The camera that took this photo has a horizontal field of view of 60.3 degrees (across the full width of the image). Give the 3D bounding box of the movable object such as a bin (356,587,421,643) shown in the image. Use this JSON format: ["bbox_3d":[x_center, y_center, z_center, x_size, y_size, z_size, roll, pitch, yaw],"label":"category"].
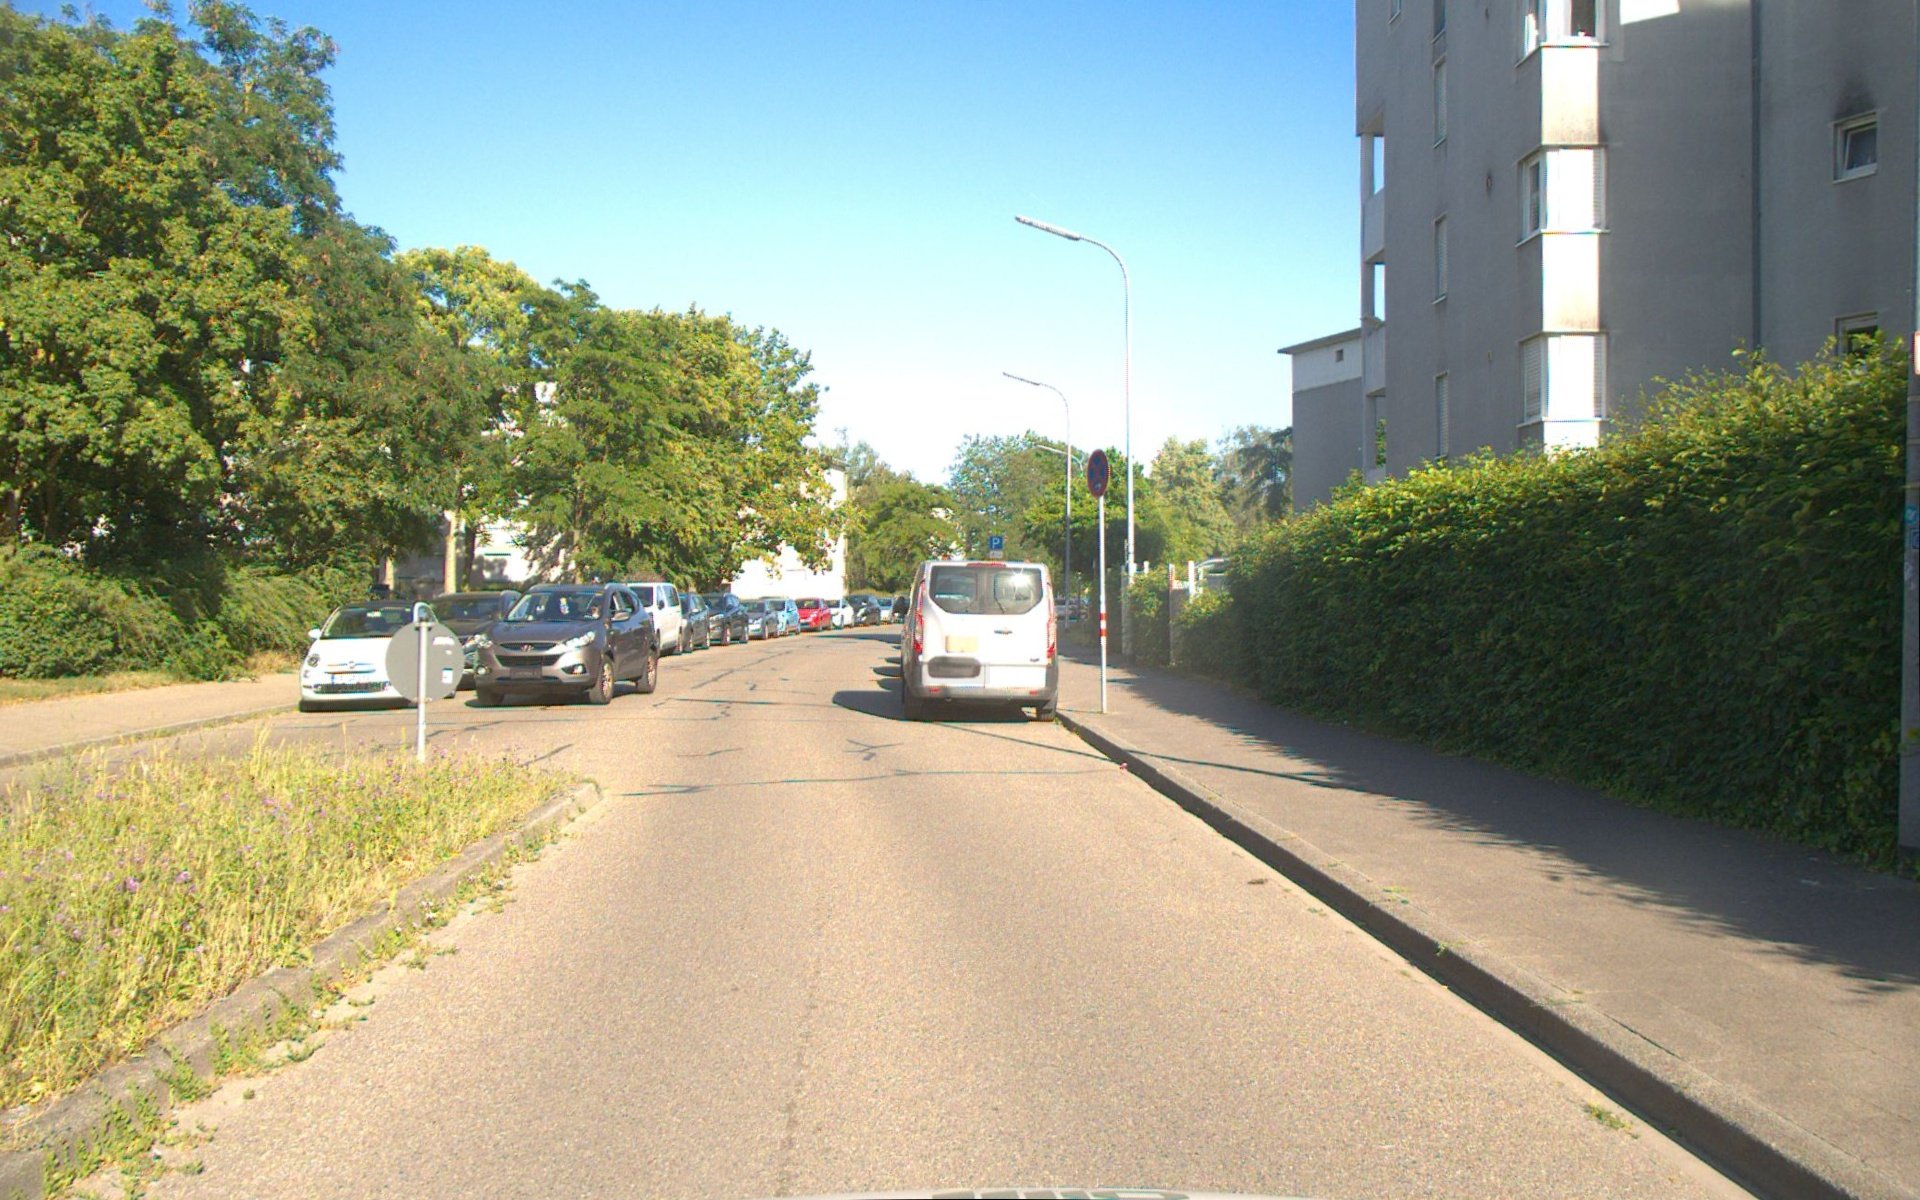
[{"bbox_3d":[-14.653,0.377,42.420,1.250,1.426,1.261,0,0,-3],"label":"movable object such as a bin"}]

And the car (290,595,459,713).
[{"bbox_3d":[-8.417,0.722,24.036,1.595,1.554,3.414,-1,0,-7],"label":"car"}]

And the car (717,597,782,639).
[{"bbox_3d":[-7.681,0.646,60.655,1.635,1.462,4.002,-2,0,3],"label":"car"}]

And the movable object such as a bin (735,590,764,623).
[{"bbox_3d":[-9.796,0.287,76.965,1.087,1.524,1.409,0,1,3],"label":"movable object such as a bin"}]

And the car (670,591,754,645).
[{"bbox_3d":[-7.941,0.545,53.277,1.711,1.646,4.365,-1,0,5],"label":"car"}]

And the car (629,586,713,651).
[{"bbox_3d":[-8.169,0.479,47.078,1.523,1.752,4.341,-1,0,2],"label":"car"}]

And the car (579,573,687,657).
[{"bbox_3d":[-8.268,0.349,42.153,1.825,1.995,4.670,-1,0,0],"label":"car"}]

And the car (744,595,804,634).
[{"bbox_3d":[-7.407,0.558,66.038,1.635,1.500,3.680,-2,0,5],"label":"car"}]

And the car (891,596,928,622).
[{"bbox_3d":[-2.925,0.494,96.768,1.625,1.451,4.052,-2,0,5],"label":"car"}]

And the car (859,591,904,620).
[{"bbox_3d":[-4.293,0.303,91.178,1.625,1.512,4.056,-2,0,9],"label":"car"}]

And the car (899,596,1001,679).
[{"bbox_3d":[-0.224,0.695,32.771,1.871,1.514,4.374,0,0,-1],"label":"car"}]

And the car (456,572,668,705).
[{"bbox_3d":[-5.712,0.508,24.281,1.873,1.735,4.187,-1,0,3],"label":"car"}]

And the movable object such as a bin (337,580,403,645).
[{"bbox_3d":[-14.451,0.301,40.563,1.234,1.578,1.278,0,0,-6],"label":"movable object such as a bin"}]

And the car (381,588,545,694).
[{"bbox_3d":[-8.590,0.651,28.964,1.641,1.667,4.249,-2,0,-1],"label":"car"}]

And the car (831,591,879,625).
[{"bbox_3d":[-5.377,0.391,85.131,1.635,1.696,4.409,-2,0,7],"label":"car"}]

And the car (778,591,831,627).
[{"bbox_3d":[-6.783,0.401,72.605,1.635,1.500,3.680,-2,0,5],"label":"car"}]

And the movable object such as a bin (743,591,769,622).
[{"bbox_3d":[-9.708,0.325,78.752,0.967,1.443,1.315,0,1,3],"label":"movable object such as a bin"}]

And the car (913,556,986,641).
[{"bbox_3d":[-0.268,-0.036,53.064,2.061,2.529,5.857,1,0,2],"label":"car"}]

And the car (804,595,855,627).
[{"bbox_3d":[-6.147,0.506,78.186,1.635,1.446,3.904,-1,0,7],"label":"car"}]

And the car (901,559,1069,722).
[{"bbox_3d":[0.219,0.479,22.319,1.954,1.946,4.951,0,0,-3],"label":"car"}]
